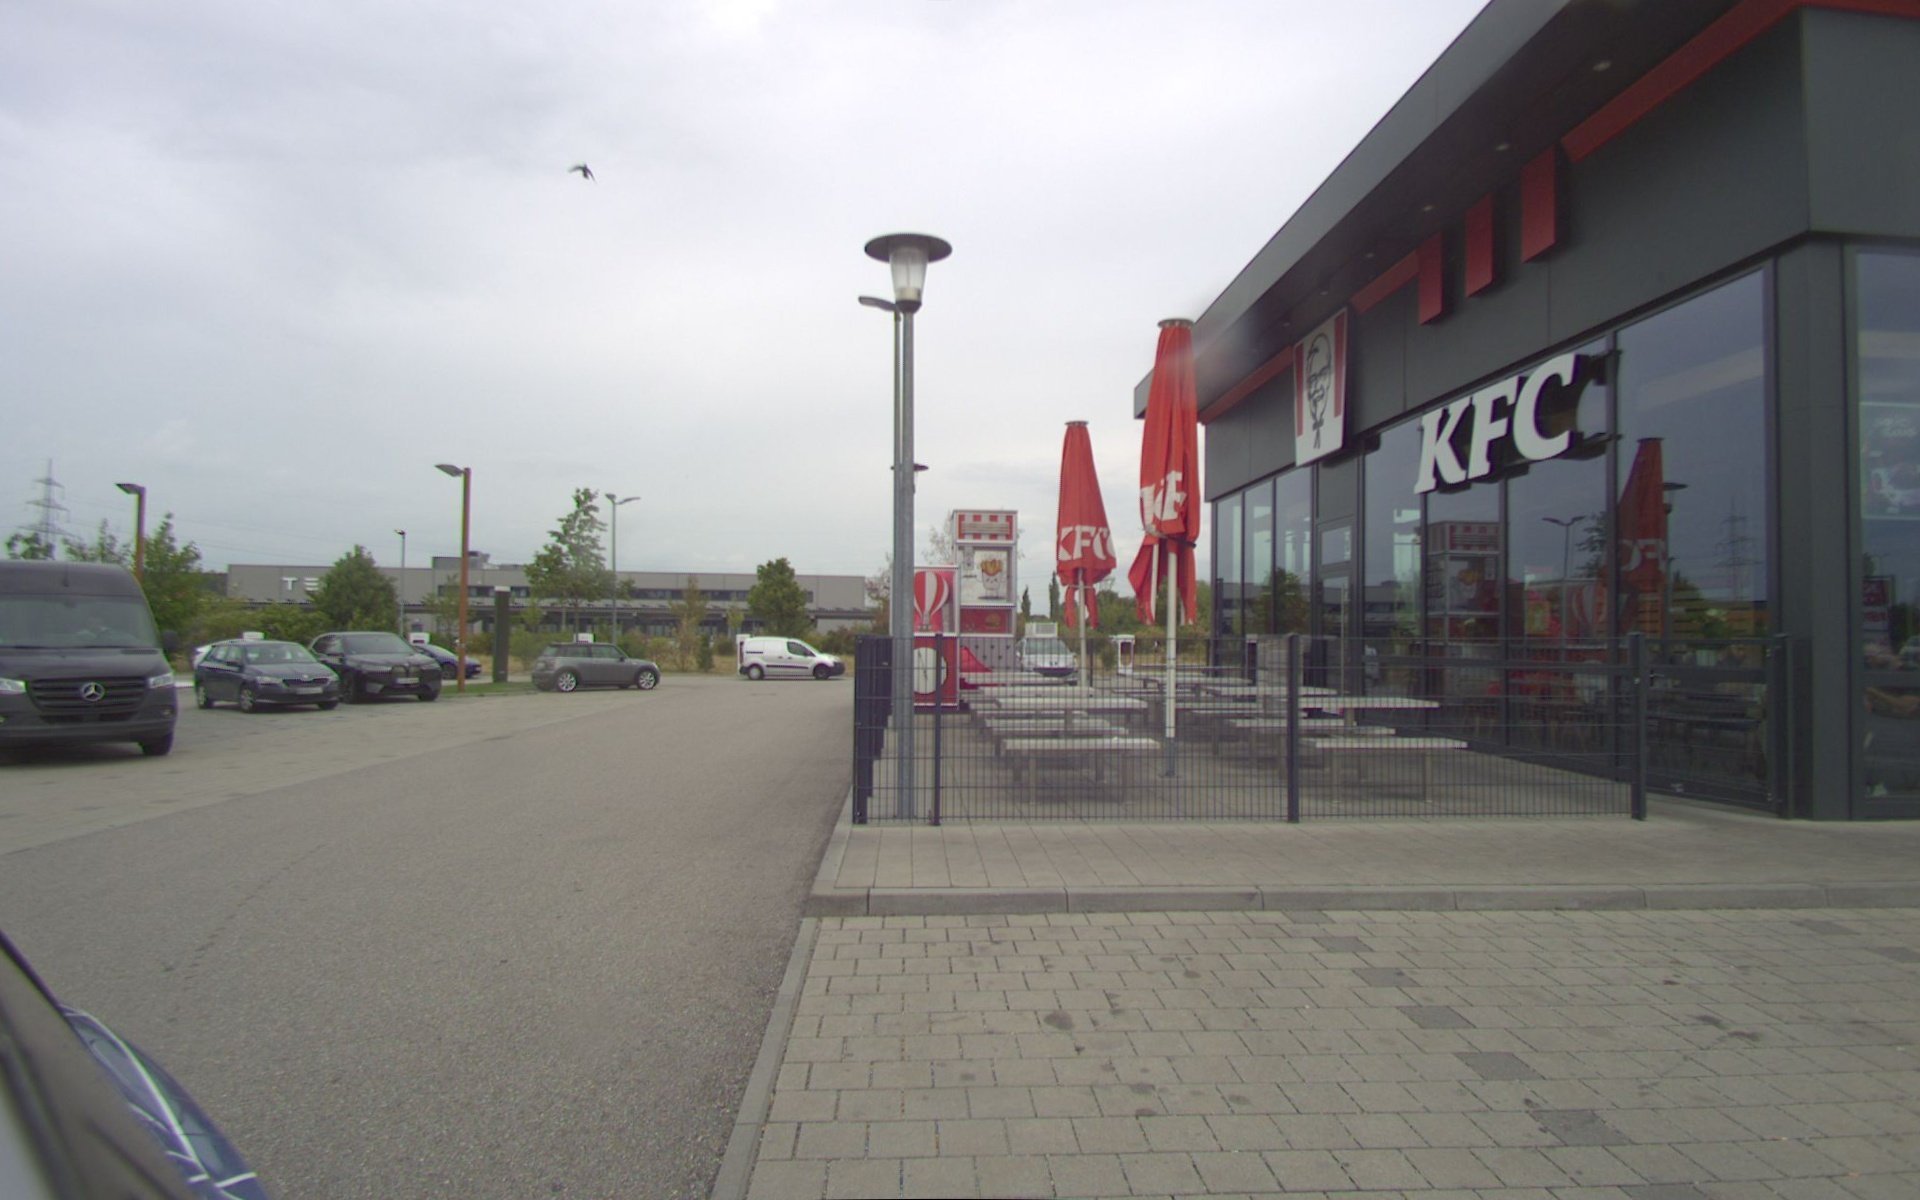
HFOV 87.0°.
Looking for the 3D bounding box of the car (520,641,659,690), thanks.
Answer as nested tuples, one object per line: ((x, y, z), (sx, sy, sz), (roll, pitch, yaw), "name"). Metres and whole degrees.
((-10.927, 1.944, 29.951), (3.474, 1.387, 1.611), (4, -5, -44), "car")

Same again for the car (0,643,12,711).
((-22.402, 1.660, 21.166), (1.841, 1.465, 3.527), (-2, -3, 39), "car")

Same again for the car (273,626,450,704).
((-14.707, 1.557, 24.790), (4.888, 1.741, 1.975), (-2, -4, 37), "car")

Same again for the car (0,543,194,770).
((-13.076, 0.767, 14.320), (7.007, 2.573, 2.045), (-3, -3, 40), "car")

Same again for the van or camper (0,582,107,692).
((-25.510, 0.947, 25.113), (6.476, 2.721, 2.174), (1, -3, -45), "van or camper")

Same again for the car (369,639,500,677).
((-21.385, 2.348, 41.334), (4.393, 1.470, 1.834), (1, -2, -1), "car")

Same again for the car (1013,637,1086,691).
((2.683, 1.936, 31.145), (1.604, 1.516, 4.172), (1, -3, -4), "car")

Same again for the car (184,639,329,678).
((-28.604, 2.371, 41.257), (4.410, 1.565, 2.075), (0, -2, -4), "car")

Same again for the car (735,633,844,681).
((-7.014, 2.372, 41.986), (4.272, 1.902, 1.947), (1, -4, -3), "car")

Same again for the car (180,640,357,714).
((-14.839, 1.585, 21.677), (3.990, 1.422, 1.811), (-1, -3, 35), "car")
